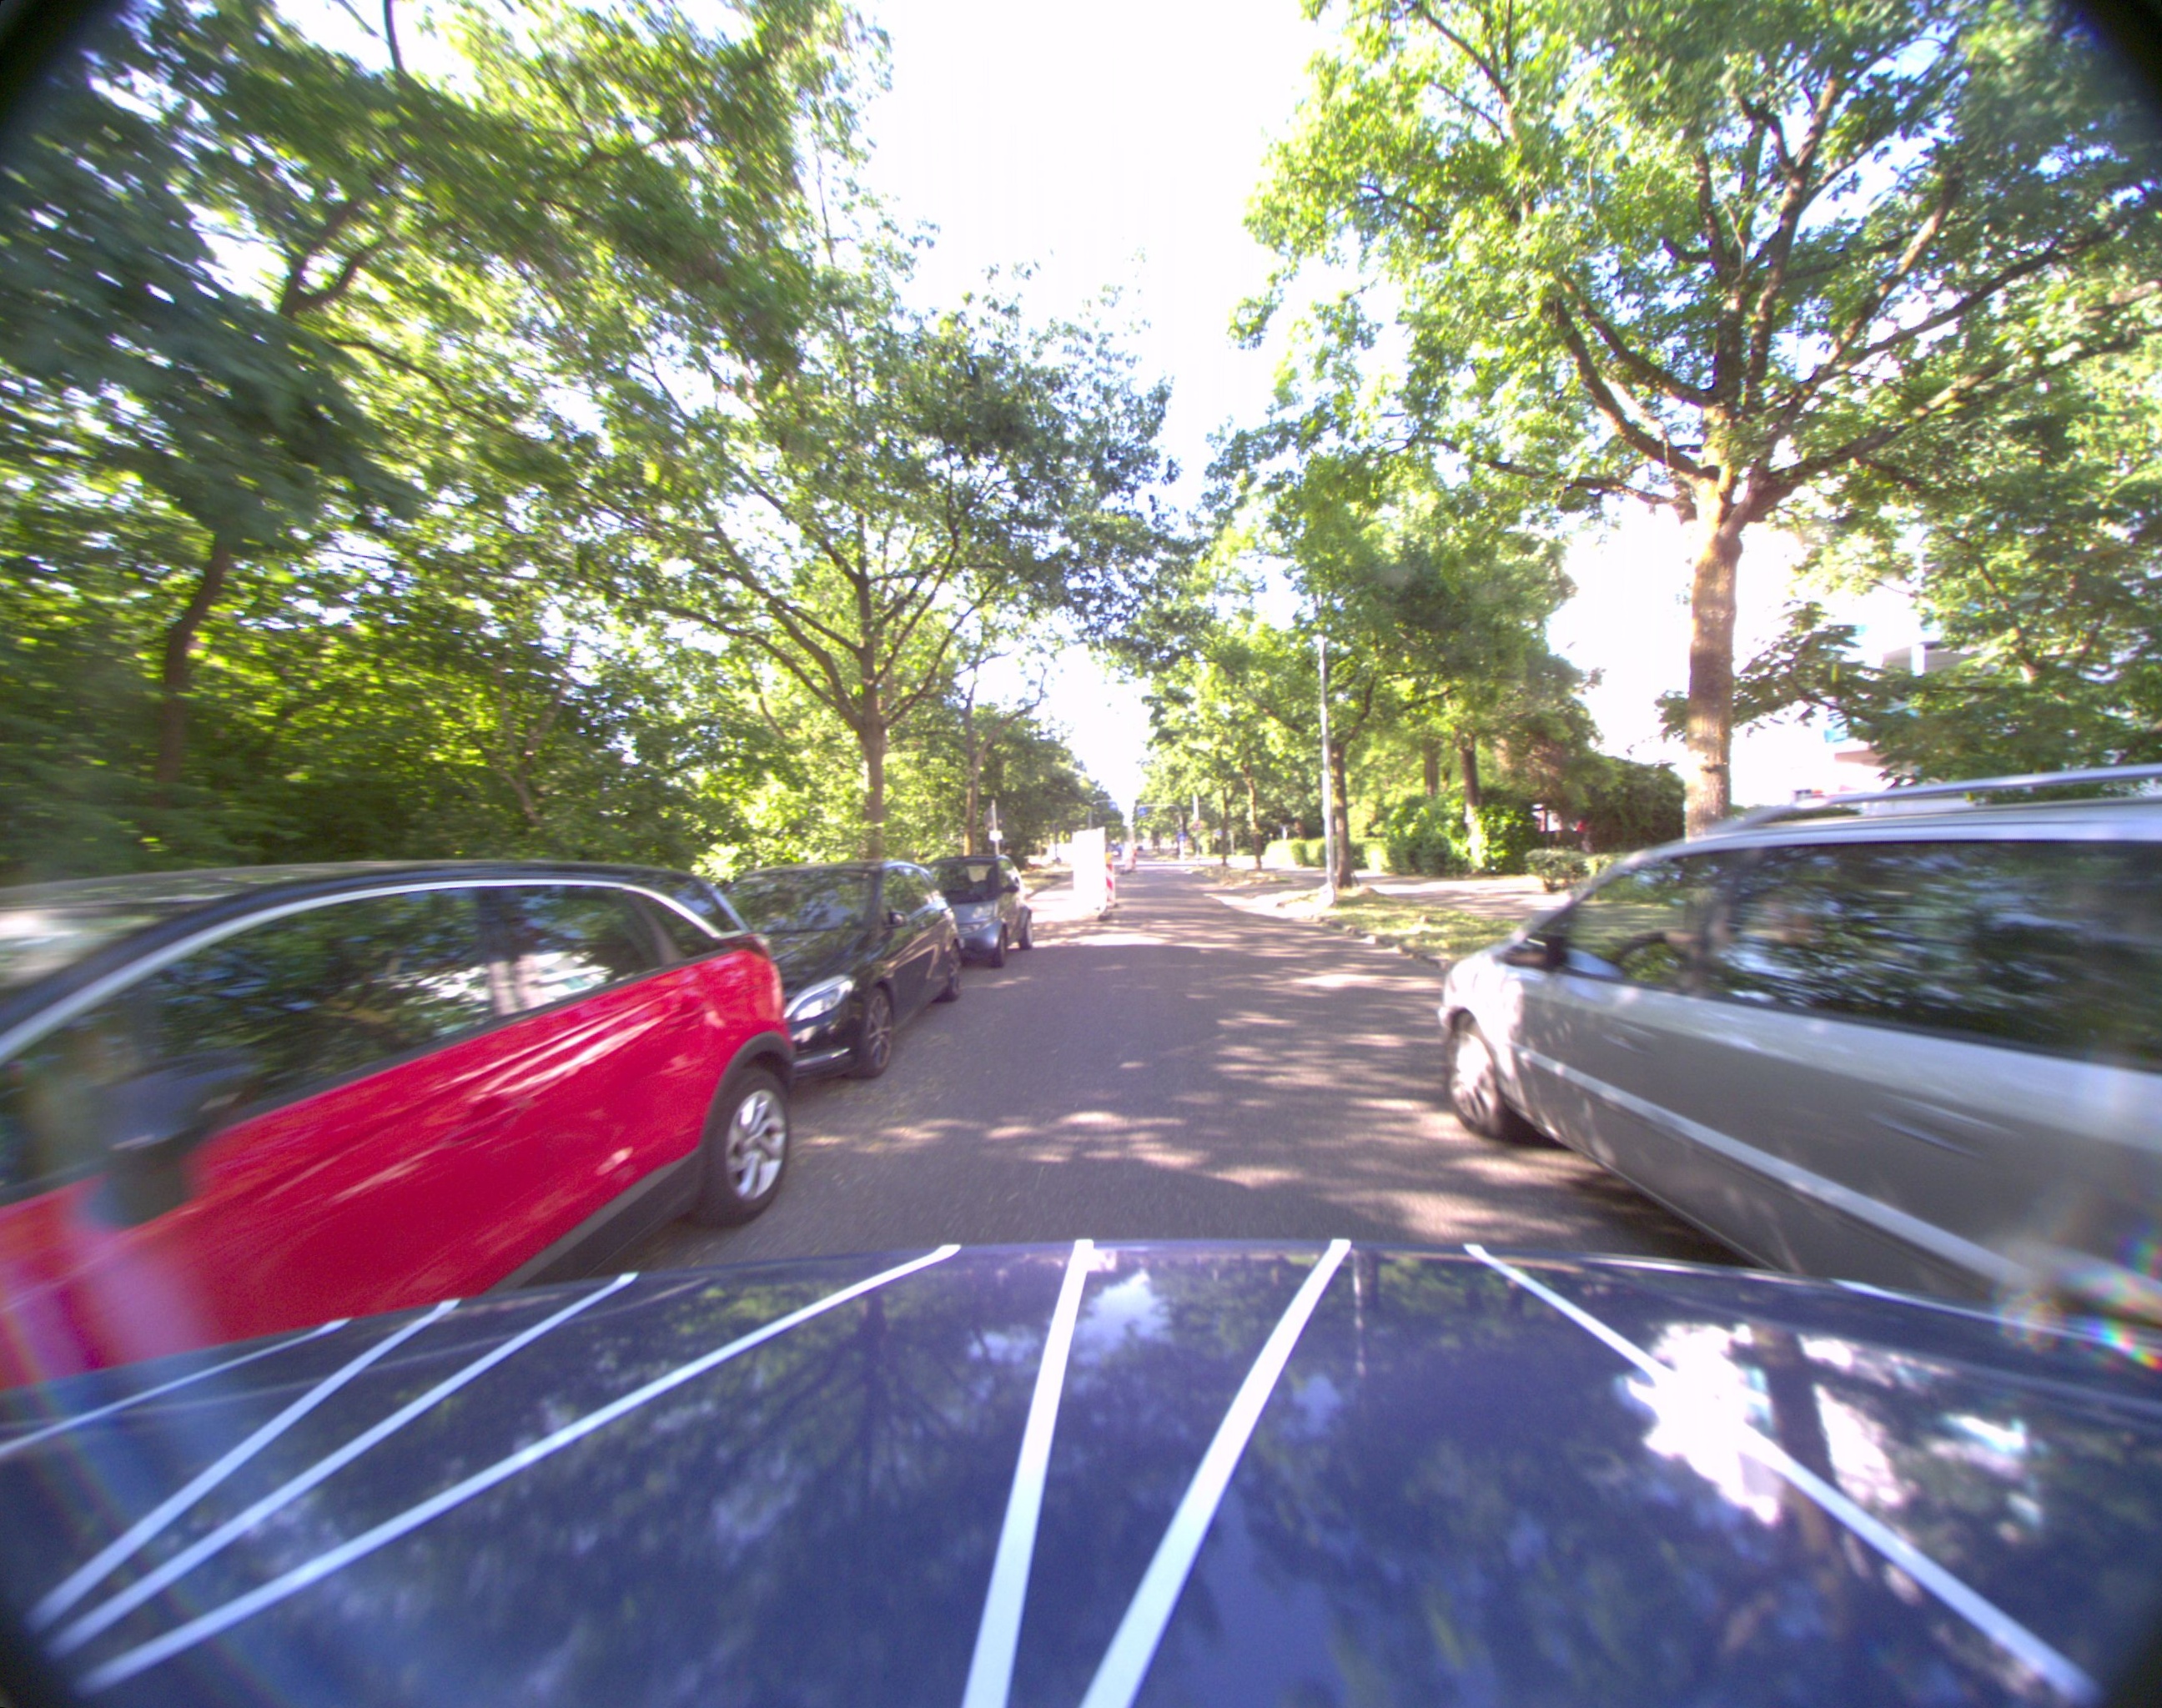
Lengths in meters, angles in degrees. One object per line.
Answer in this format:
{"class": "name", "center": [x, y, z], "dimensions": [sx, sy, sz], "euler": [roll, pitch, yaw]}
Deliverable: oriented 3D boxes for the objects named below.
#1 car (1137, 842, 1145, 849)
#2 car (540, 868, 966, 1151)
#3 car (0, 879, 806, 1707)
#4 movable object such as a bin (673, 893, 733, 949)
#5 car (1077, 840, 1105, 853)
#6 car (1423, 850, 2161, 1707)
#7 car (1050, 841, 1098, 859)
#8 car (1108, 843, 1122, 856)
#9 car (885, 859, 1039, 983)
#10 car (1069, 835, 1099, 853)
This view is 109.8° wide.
{"class": "car", "center": [16.616, -2.257, 210.662], "dimensions": [1.997, 1.805, 4.001], "euler": [-2, 1, 7]}
{"class": "car", "center": [-2.257, 0.967, 6.576], "dimensions": [1.716, 1.500, 4.149], "euler": [-3, 1, 2]}
{"class": "car", "center": [-2.401, 0.969, 1.712], "dimensions": [1.682, 1.565, 4.067], "euler": [-3, 1, 6]}
{"class": "movable object such as a bin", "center": [-6.506, 1.149, 13.089], "dimensions": [0.727, 0.877, 0.462], "euler": [0, 8, 10]}
{"class": "car", "center": [1.530, -1.170, 117.152], "dimensions": [4.243, 1.993, 1.565], "euler": [-1, 1, 0]}
{"class": "car", "center": [2.664, 0.802, 2.286], "dimensions": [1.663, 1.587, 4.009], "euler": [0, 1, 4]}
{"class": "car", "center": [-0.724, -0.448, 84.544], "dimensions": [5.267, 1.993, 2.000], "euler": [-1, 1, 3]}
{"class": "car", "center": [5.302, -0.751, 116.897], "dimensions": [1.998, 1.871, 4.001], "euler": [0, 1, 5]}
{"class": "car", "center": [-1.628, 0.891, 11.201], "dimensions": [1.497, 1.500, 2.678], "euler": [-3, 1, 7]}
{"class": "car", "center": [0.459, -1.451, 111.945], "dimensions": [4.410, 2.531, 1.888], "euler": [-1, 1, 0]}
